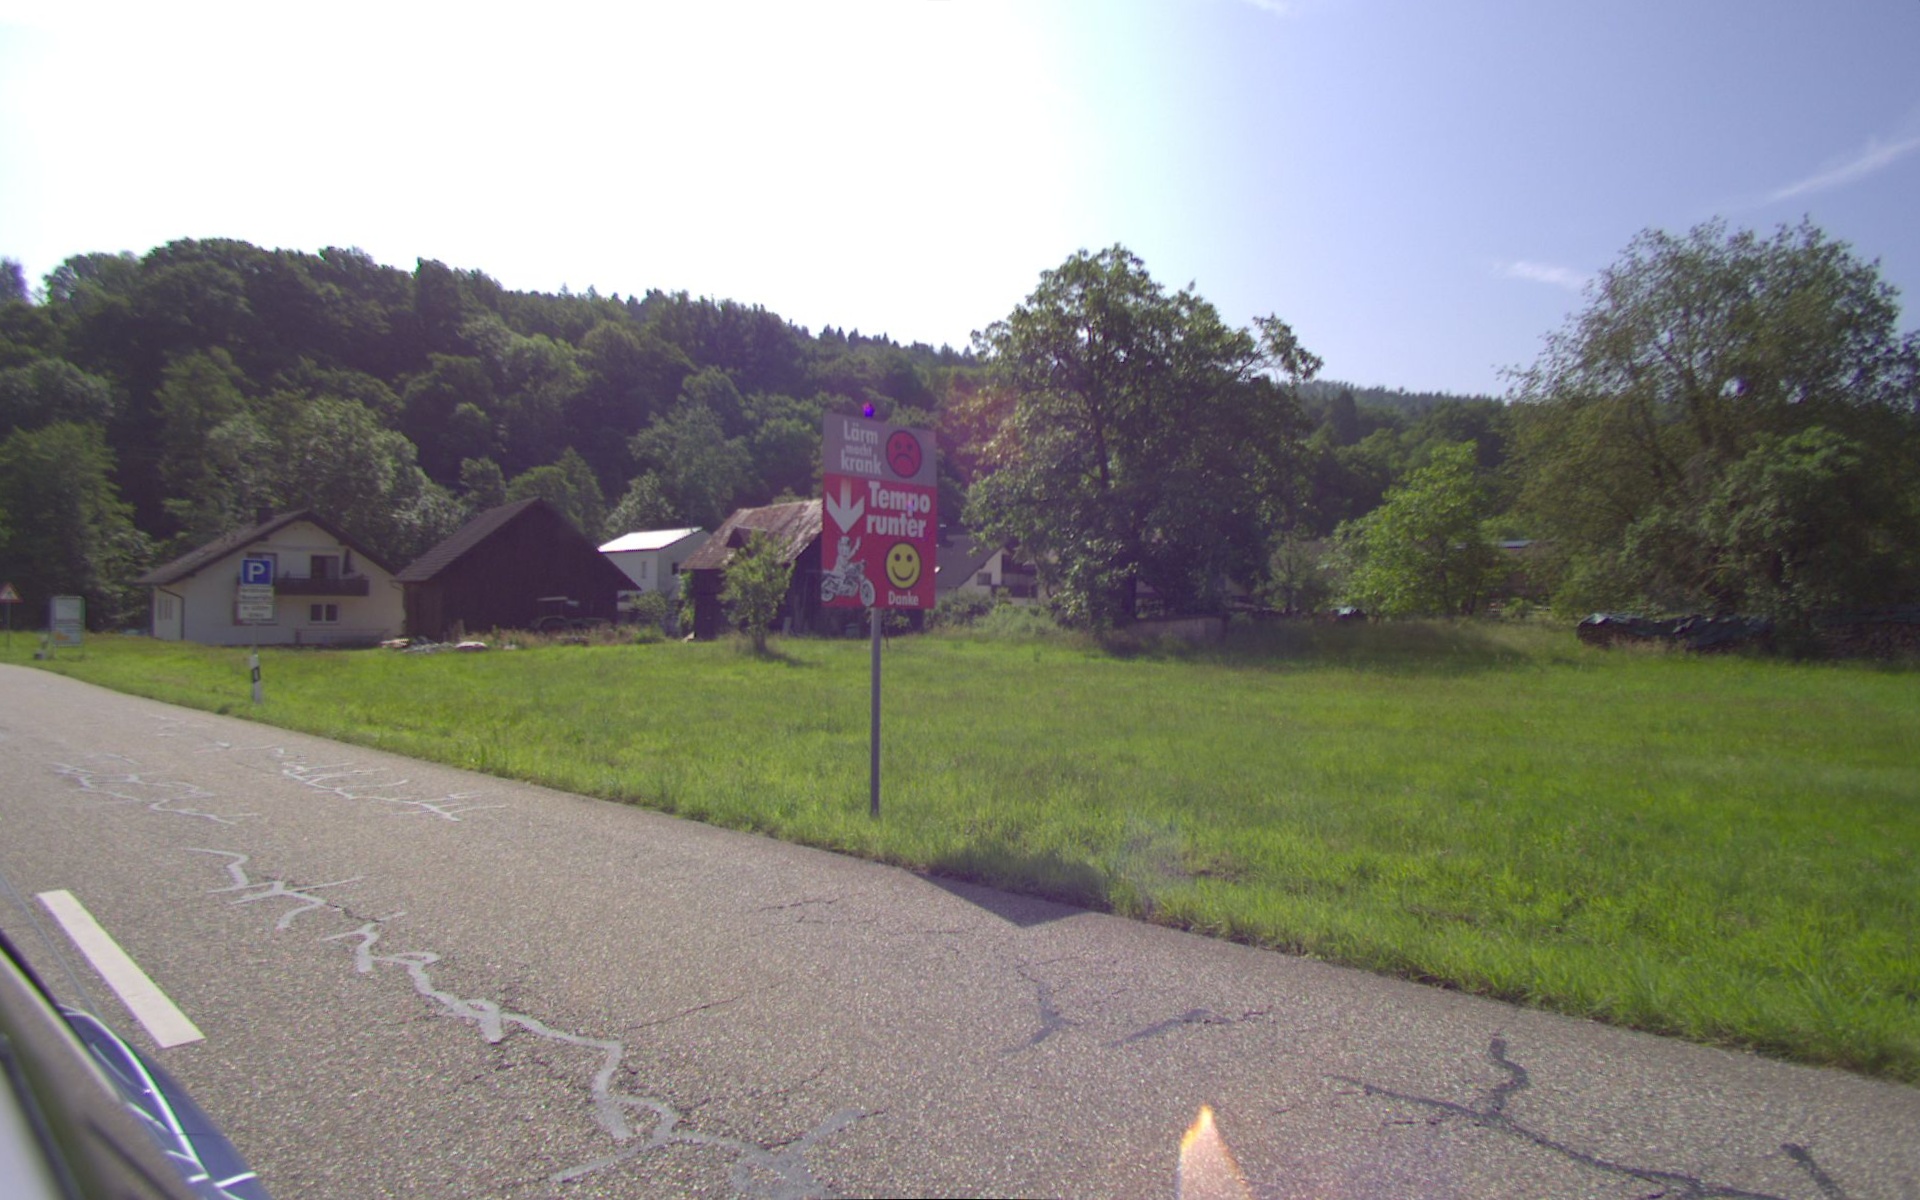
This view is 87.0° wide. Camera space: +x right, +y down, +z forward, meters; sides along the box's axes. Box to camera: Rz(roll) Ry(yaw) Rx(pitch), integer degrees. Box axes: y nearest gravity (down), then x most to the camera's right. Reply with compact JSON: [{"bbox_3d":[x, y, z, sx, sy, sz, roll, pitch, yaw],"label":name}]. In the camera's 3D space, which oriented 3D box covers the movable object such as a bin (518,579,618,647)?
[{"bbox_3d":[-19.027,0.601,49.199,4.123,3.161,2.208,0,-1,-35],"label":"movable object such as a bin"}]
